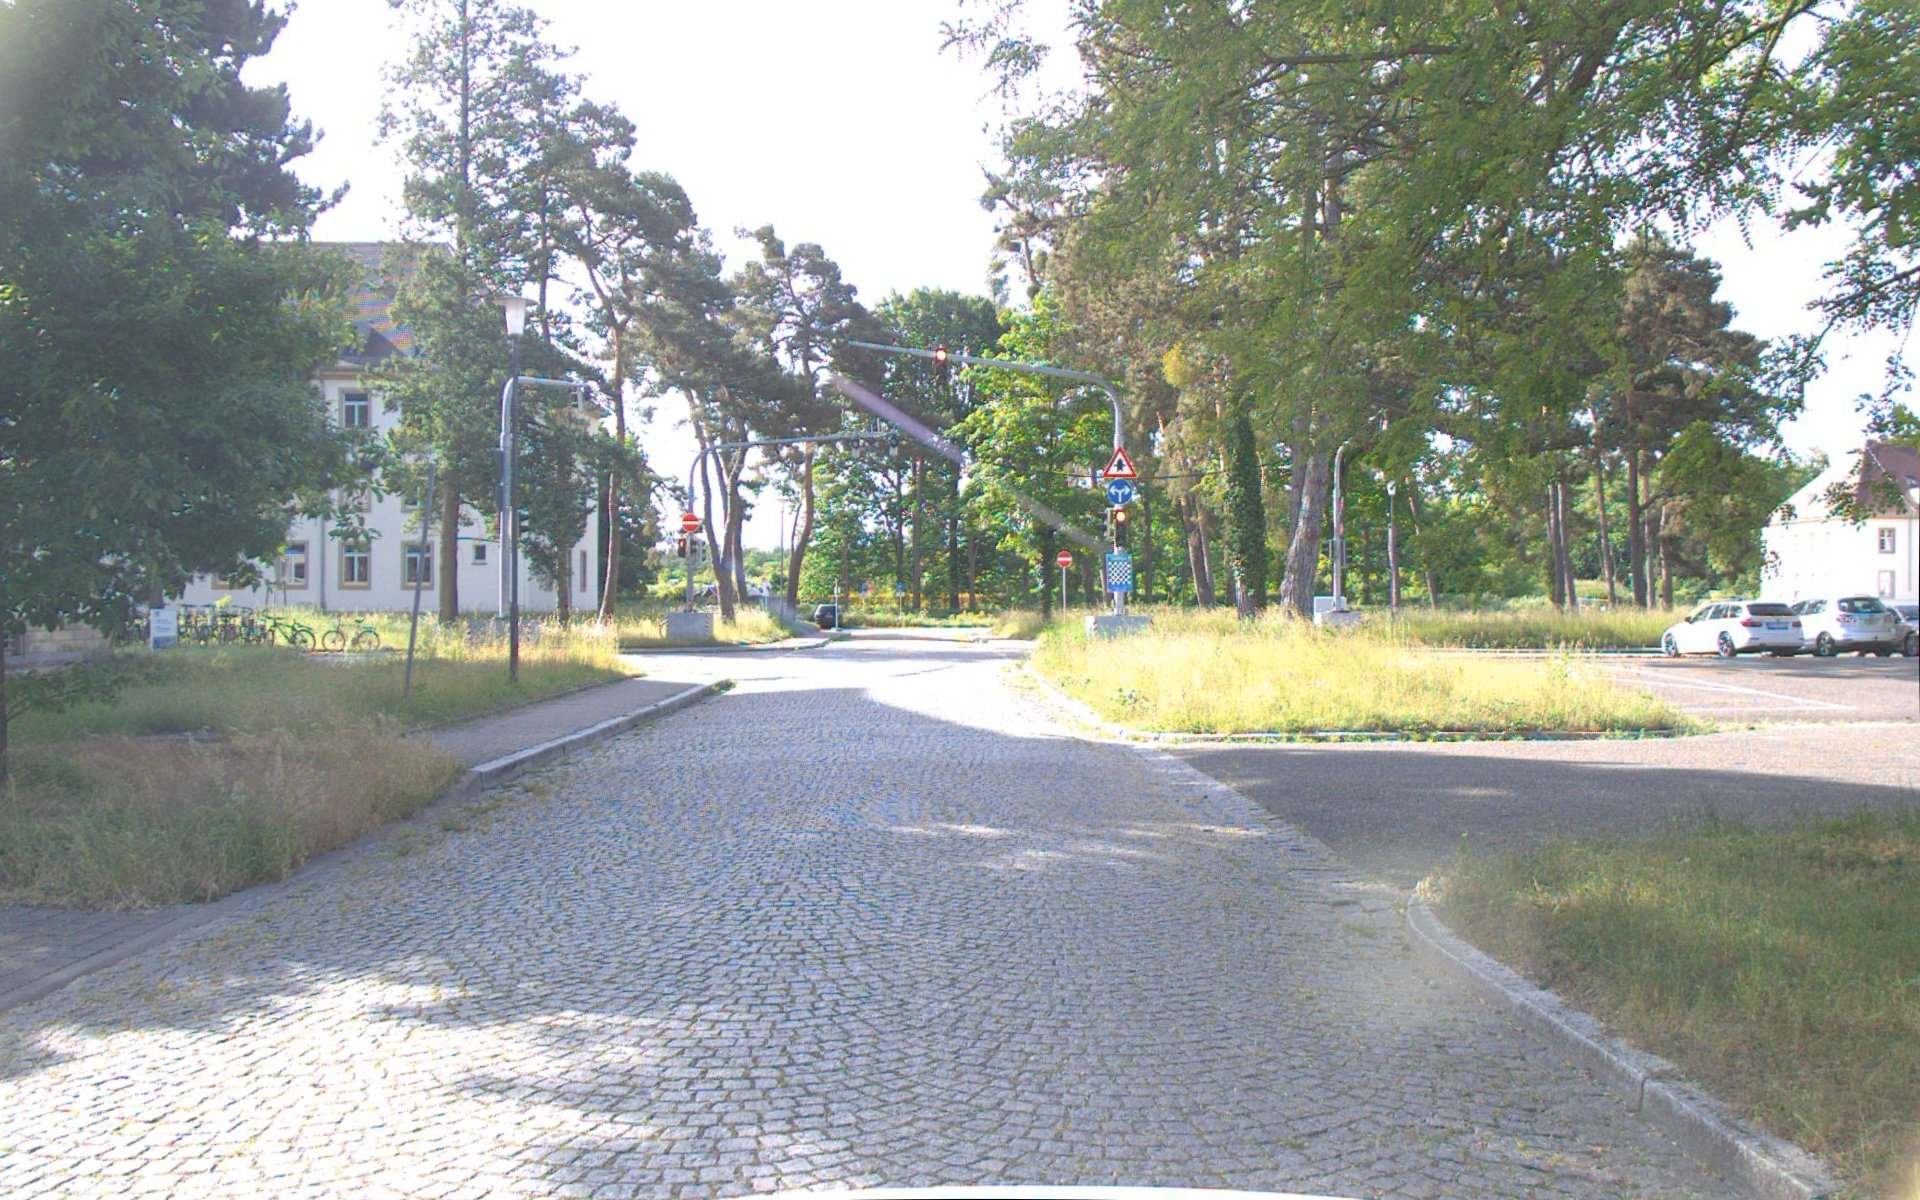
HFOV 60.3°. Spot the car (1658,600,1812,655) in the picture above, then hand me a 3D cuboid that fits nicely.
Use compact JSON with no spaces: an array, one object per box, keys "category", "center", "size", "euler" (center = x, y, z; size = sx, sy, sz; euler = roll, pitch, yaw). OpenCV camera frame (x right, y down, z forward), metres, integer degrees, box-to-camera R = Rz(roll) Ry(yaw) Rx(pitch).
[{"category":"car","center":[20.015,0.679,42.934],"size":[1.697,1.335,4.327],"euler":[0,0,-5]}]

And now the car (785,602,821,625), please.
[{"category":"car","center":[-10.469,0.912,110.487],"size":[1.745,1.516,3.757],"euler":[0,0,5]}]

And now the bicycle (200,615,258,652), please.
[{"category":"bicycle","center":[-21.641,0.981,49.019],"size":[0.809,1.065,2.123],"euler":[0,0,-2]}]

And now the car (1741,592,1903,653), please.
[{"category":"car","center":[22.477,0.569,43.321],"size":[1.697,1.502,4.327],"euler":[0,0,-5]}]

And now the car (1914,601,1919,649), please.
[{"category":"car","center":[27.706,0.672,44.147],"size":[1.697,1.335,4.327],"euler":[-1,0,-5]}]

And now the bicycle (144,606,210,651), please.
[{"category":"bicycle","center":[-23.176,0.830,49.010],"size":[0.809,1.303,2.553],"euler":[0,0,-2]}]

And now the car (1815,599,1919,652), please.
[{"category":"car","center":[24.724,0.645,43.784],"size":[1.697,1.335,4.327],"euler":[0,0,-5]}]

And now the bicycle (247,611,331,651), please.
[{"category":"bicycle","center":[-19.416,0.891,47.883],"size":[2.076,1.128,0.828],"euler":[0,0,-5]}]

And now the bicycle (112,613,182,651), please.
[{"category":"bicycle","center":[-24.055,0.930,48.982],"size":[0.882,1.065,2.553],"euler":[0,0,-2]}]

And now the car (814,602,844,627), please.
[{"category":"car","center":[-8.365,0.919,105.772],"size":[1.808,1.512,3.997],"euler":[0,0,-4]}]

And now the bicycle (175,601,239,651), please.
[{"category":"bicycle","center":[-22.426,0.754,49.337],"size":[0.809,1.462,2.553],"euler":[0,0,-2]}]

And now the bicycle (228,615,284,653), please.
[{"category":"bicycle","center":[-20.875,0.998,49.087],"size":[0.809,1.065,2.123],"euler":[0,0,-2]}]

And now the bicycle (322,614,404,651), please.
[{"category":"bicycle","center":[-17.335,0.933,48.045],"size":[2.076,1.065,0.828],"euler":[0,0,-5]}]
